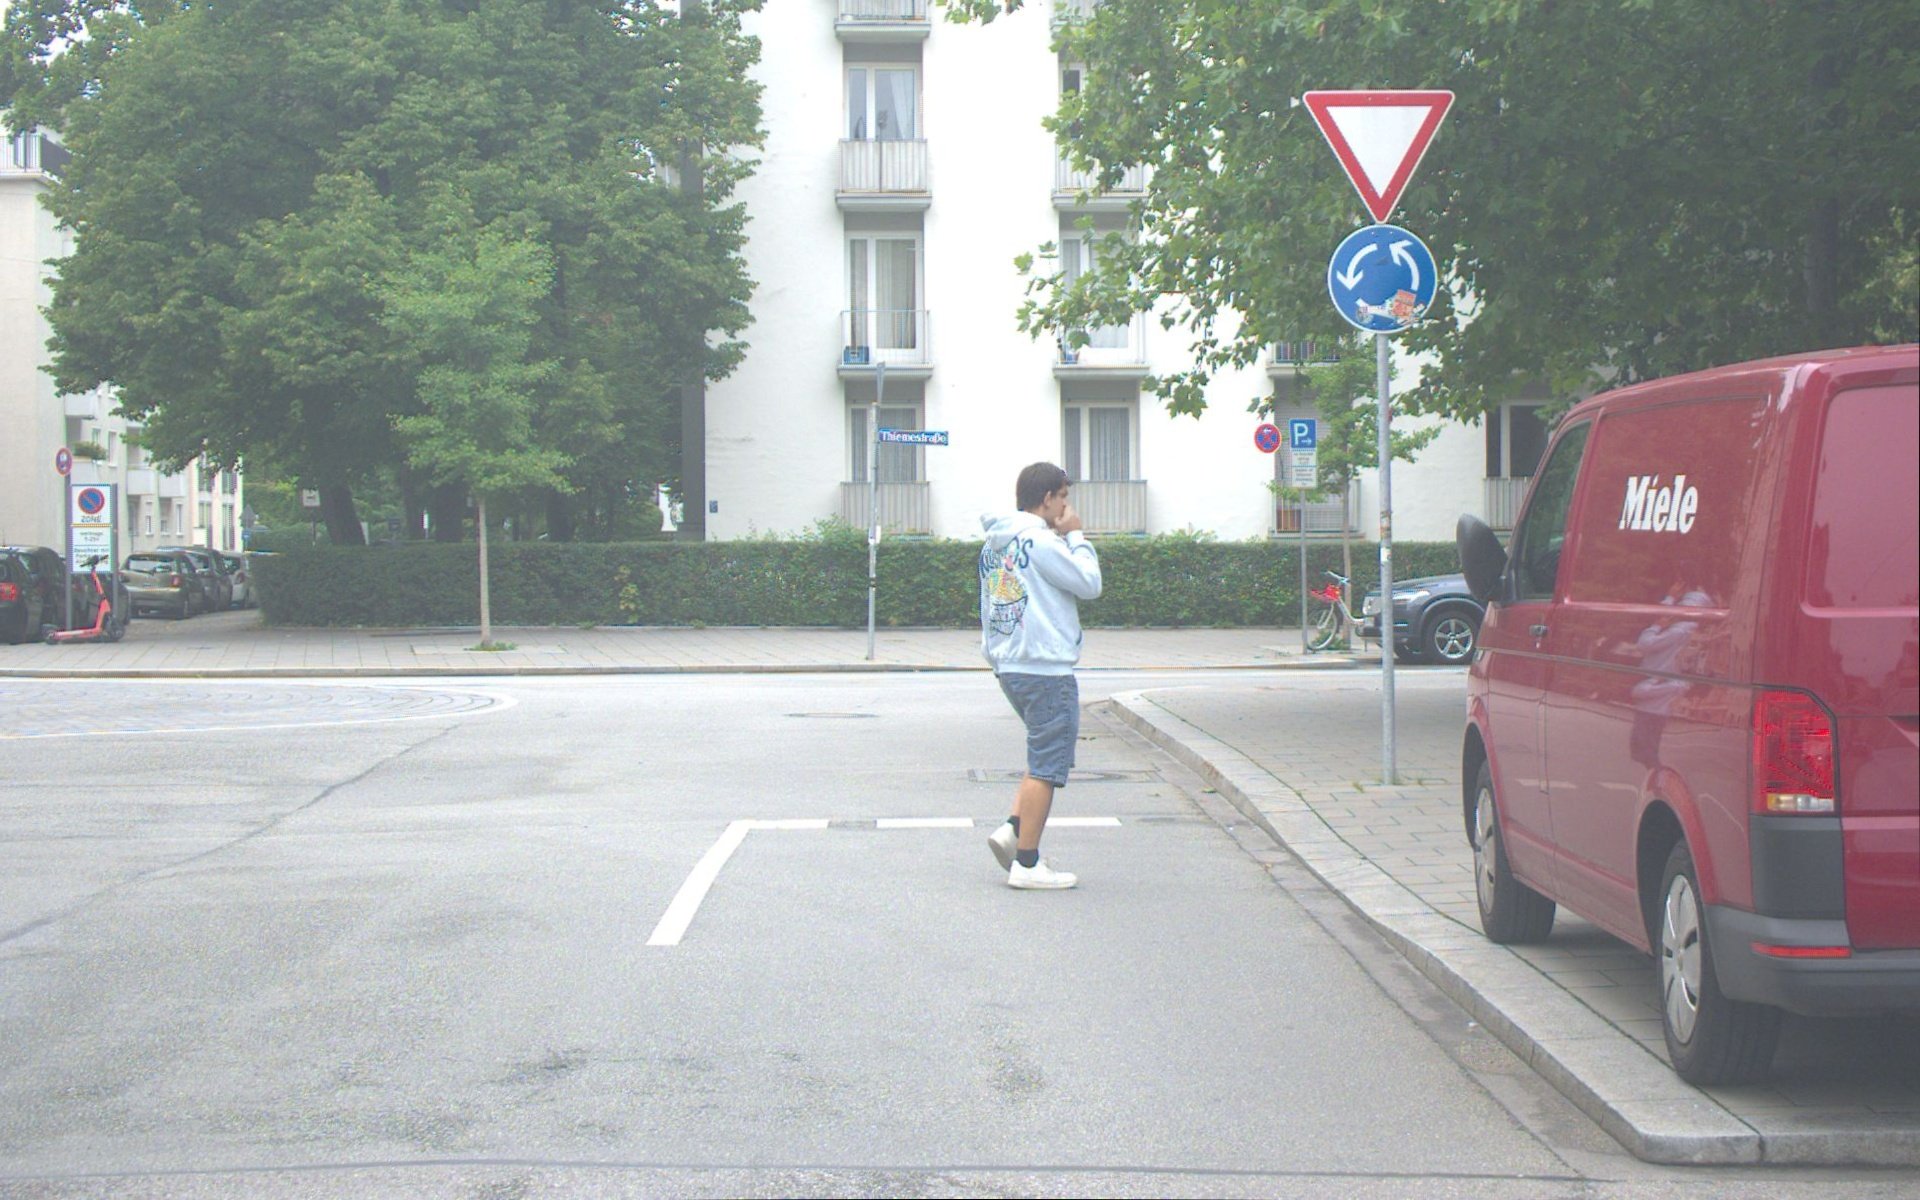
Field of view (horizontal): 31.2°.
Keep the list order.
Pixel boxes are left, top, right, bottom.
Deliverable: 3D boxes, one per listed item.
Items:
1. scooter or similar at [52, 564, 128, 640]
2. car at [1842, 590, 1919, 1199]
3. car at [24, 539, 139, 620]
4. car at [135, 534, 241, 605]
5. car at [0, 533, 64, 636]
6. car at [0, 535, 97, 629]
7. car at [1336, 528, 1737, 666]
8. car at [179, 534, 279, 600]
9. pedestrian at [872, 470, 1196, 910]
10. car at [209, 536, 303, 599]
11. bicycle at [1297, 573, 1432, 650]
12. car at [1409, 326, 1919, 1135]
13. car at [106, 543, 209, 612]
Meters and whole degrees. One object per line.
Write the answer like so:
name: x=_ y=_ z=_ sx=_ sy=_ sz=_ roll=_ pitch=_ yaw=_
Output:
scooter or similar: x=-12.609 y=0.029 z=49.811 sx=0.999 sy=1.085 sz=0.390 roll=0 pitch=1 yaw=-31
car: x=2.884 y=0.771 z=4.897 sx=1.884 sy=1.443 sz=4.369 roll=2 pitch=1 yaw=-3
car: x=-17.313 y=-0.430 z=67.874 sx=1.793 sy=1.500 sz=4.116 roll=-1 pitch=1 yaw=-9
car: x=-18.729 y=-0.757 z=83.542 sx=1.835 sy=1.629 sz=4.116 roll=-1 pitch=1 yaw=-3
car: x=-14.831 y=-0.252 z=52.412 sx=1.818 sy=1.500 sz=4.423 roll=-1 pitch=1 yaw=-9
car: x=-15.590 y=-0.316 z=57.623 sx=1.793 sy=1.500 sz=4.236 roll=-1 pitch=1 yaw=-9
car: x=7.642 y=-0.035 z=45.785 sx=4.896 sy=1.786 sz=2.000 roll=0 pitch=0 yaw=-8
car: x=-18.943 y=-0.868 z=89.206 sx=1.835 sy=1.629 sz=3.820 roll=-1 pitch=1 yaw=-1
pedestrian: x=0.309 y=0.351 z=14.459 sx=1.048 sy=1.765 sz=0.876 roll=-1 pitch=1 yaw=-33
car: x=-19.067 y=-0.899 z=93.250 sx=1.835 sy=1.629 sz=3.820 roll=-1 pitch=1 yaw=-1
bicycle: x=5.657 y=0.153 z=48.101 sx=1.824 sy=1.045 sz=0.492 roll=0 pitch=1 yaw=-14
car: x=2.719 y=0.283 z=10.623 sx=1.874 sy=1.914 sz=4.888 roll=1 pitch=1 yaw=-1
car: x=-18.398 y=-0.547 z=78.942 sx=1.835 sy=1.500 sz=4.116 roll=-1 pitch=1 yaw=-7
